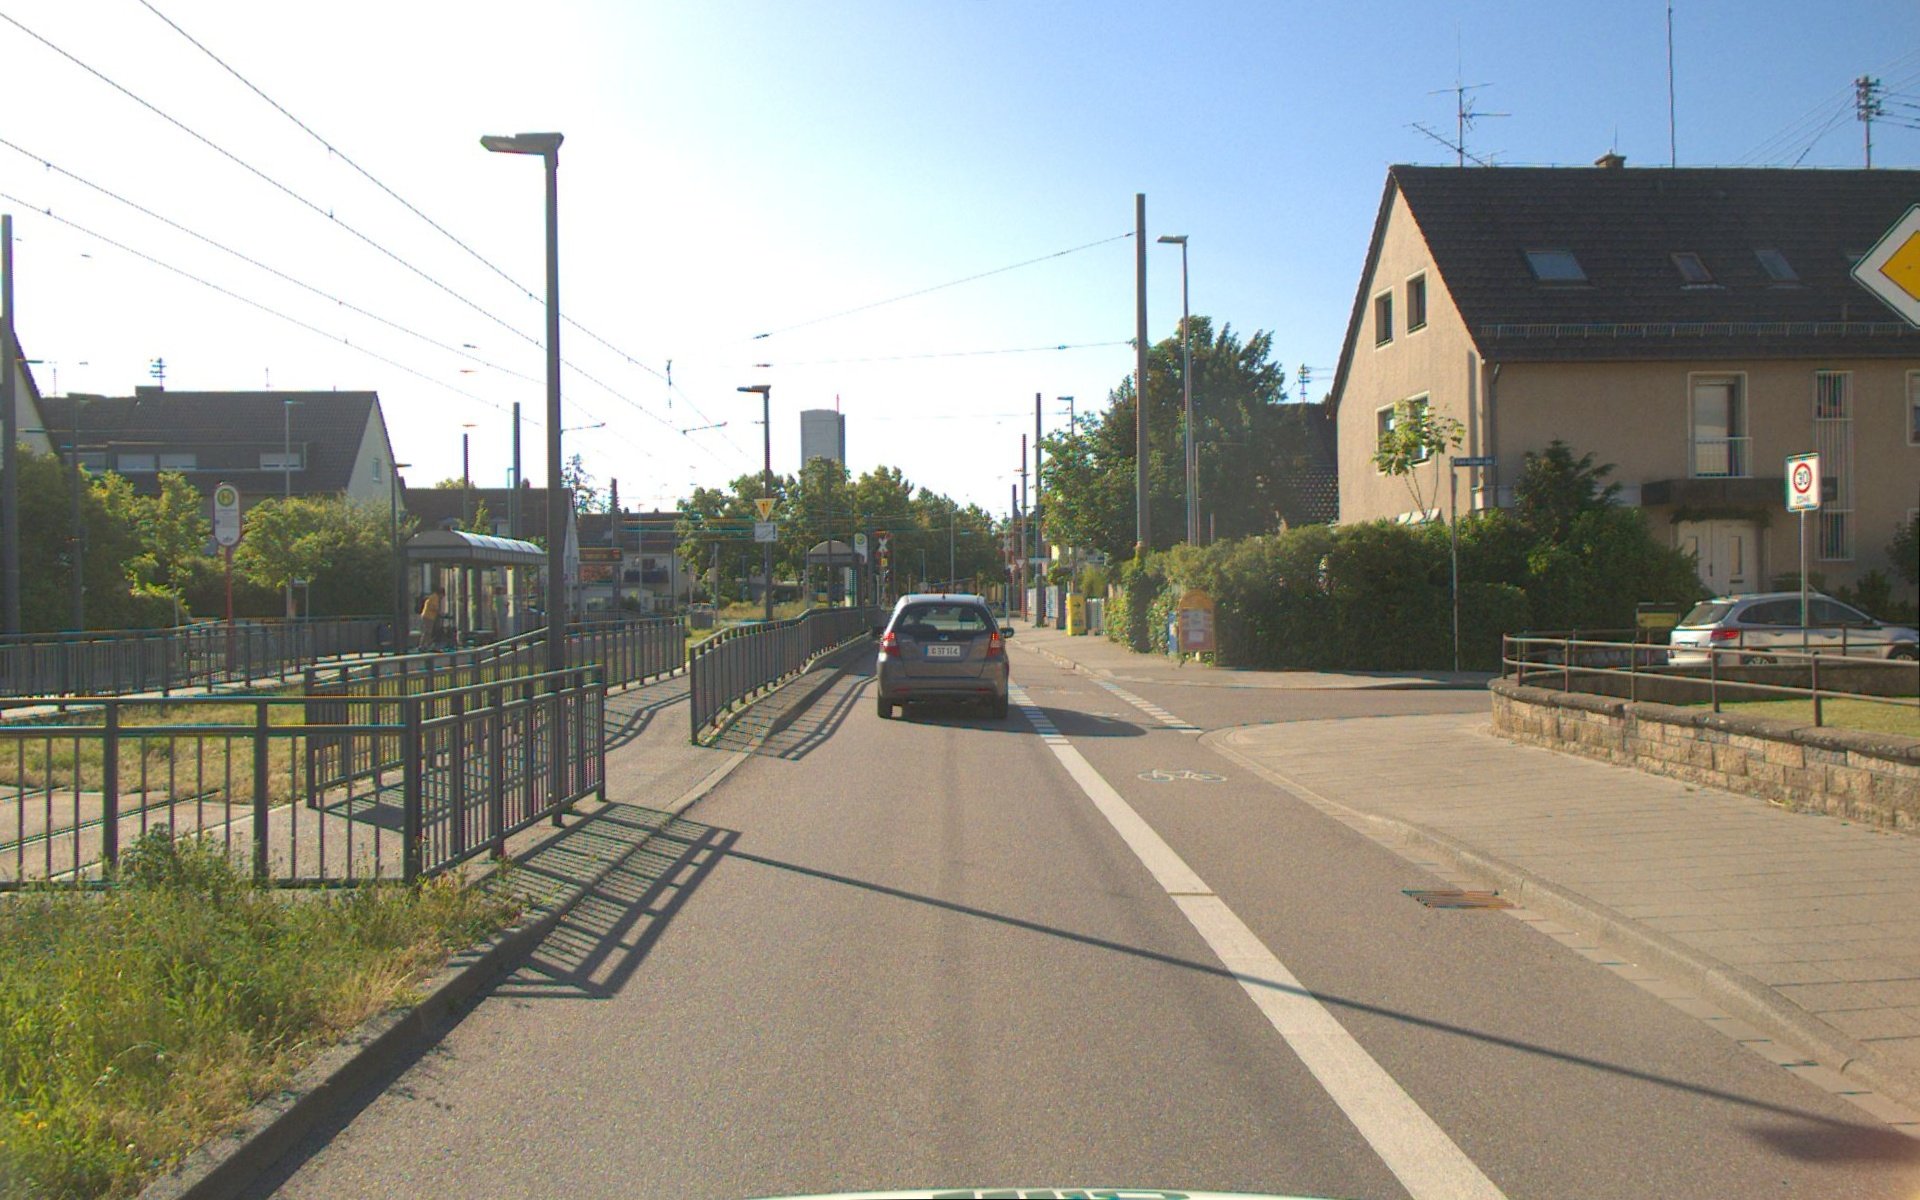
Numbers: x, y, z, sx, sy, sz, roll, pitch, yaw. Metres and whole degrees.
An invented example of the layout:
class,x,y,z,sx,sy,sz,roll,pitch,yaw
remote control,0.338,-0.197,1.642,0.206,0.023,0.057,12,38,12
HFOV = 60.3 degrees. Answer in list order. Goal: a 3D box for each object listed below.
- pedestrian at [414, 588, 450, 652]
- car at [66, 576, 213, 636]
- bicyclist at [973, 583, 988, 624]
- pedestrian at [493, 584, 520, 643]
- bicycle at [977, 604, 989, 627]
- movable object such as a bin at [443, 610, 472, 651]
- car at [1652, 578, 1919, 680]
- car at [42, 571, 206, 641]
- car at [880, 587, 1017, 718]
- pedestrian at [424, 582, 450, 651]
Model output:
class,x,y,z,sx,sy,sz,roll,pitch,yaw
pedestrian,-13.068,0.487,40.941,0.662,1.562,0.748,-1,0,-5
car,-25.987,0.205,52.504,3.773,1.838,1.796,1,-1,-9
bicyclist,0.867,0.135,70.465,0.586,1.731,0.683,0,-1,-1
pedestrian,-13.625,0.403,49.715,0.490,1.726,0.771,-3,0,0
bicycle,0.996,0.662,70.785,0.465,0.978,1.656,0,-1,-1
movable object such as a bin,-12.467,0.749,41.063,0.535,1.005,0.741,-1,0,-5
car,13.807,0.477,27.251,4.059,1.538,1.799,-1,-2,-6
car,-24.942,0.197,49.467,3.913,2.004,1.929,1,-1,-9
car,-0.184,0.643,21.638,1.637,1.562,3.485,1,0,-2
pedestrian,-13.441,0.416,42.512,0.509,1.738,0.580,-1,0,-5
